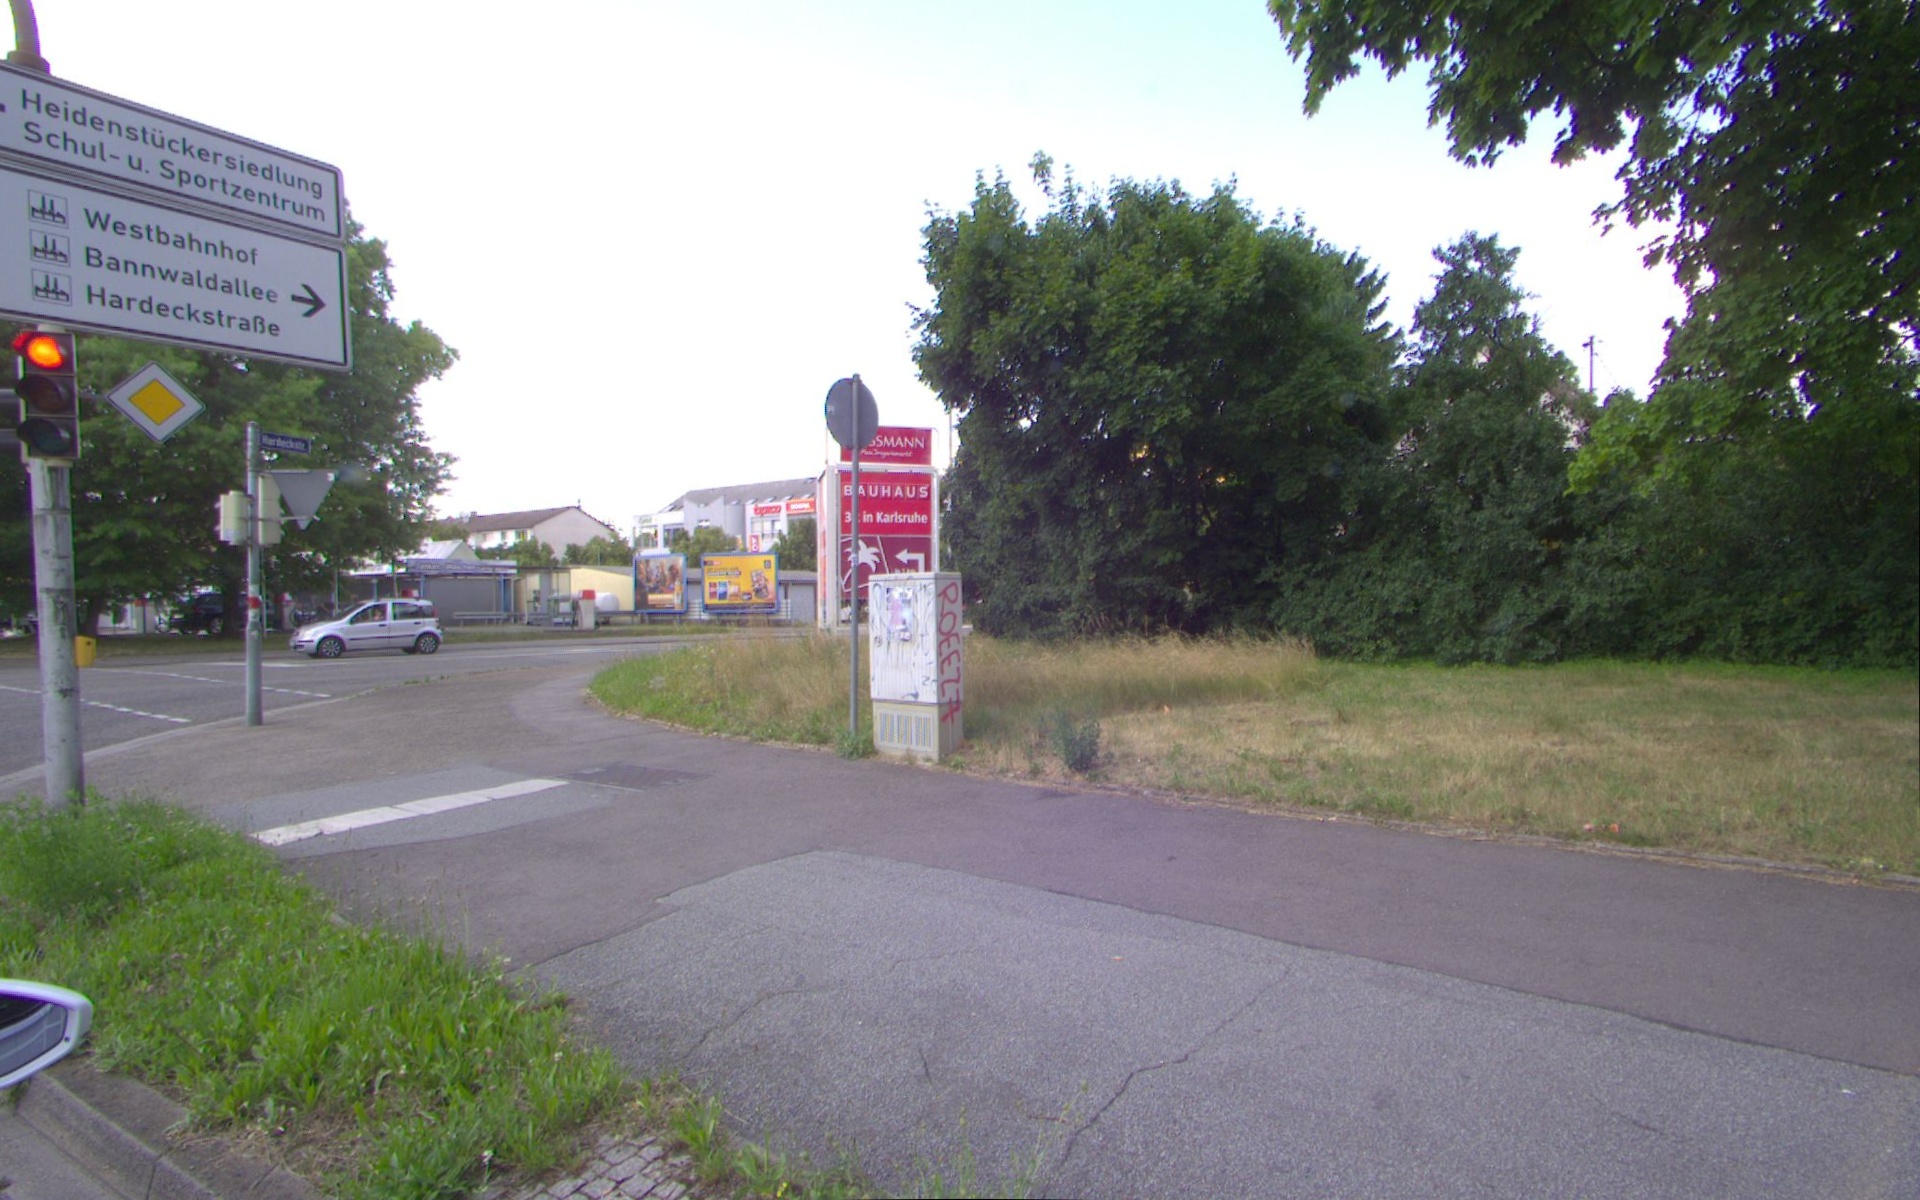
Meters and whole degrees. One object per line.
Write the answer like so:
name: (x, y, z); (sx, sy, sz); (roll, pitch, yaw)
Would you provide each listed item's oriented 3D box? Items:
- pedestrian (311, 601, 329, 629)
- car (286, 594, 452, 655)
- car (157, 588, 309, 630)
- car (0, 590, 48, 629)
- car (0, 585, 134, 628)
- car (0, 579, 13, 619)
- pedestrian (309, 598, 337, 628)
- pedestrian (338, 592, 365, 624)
pedestrian: (-36.400, 0.862, 56.929); (0.616, 1.565, 0.651); (0, 1, 39)
car: (-15.806, 0.614, 26.879); (1.543, 1.537, 3.574); (0, 0, 45)
car: (-29.502, 0.352, 40.810); (2.117, 1.617, 4.552); (-1, 0, 22)
car: (-50.143, 0.501, 50.912); (2.121, 2.031, 5.174); (0, 0, 29)
car: (-40.968, 0.270, 45.259); (2.117, 1.851, 5.184); (-1, 0, 22)
car: (-61.270, -0.023, 62.413); (5.665, 2.486, 1.747); (-1, 1, 31)
pedestrian: (-25.287, 0.518, 39.784); (0.752, 1.205, 0.645); (0, -1, -12)
pedestrian: (-24.394, 0.312, 40.141); (0.752, 1.271, 0.645); (0, -1, -12)
